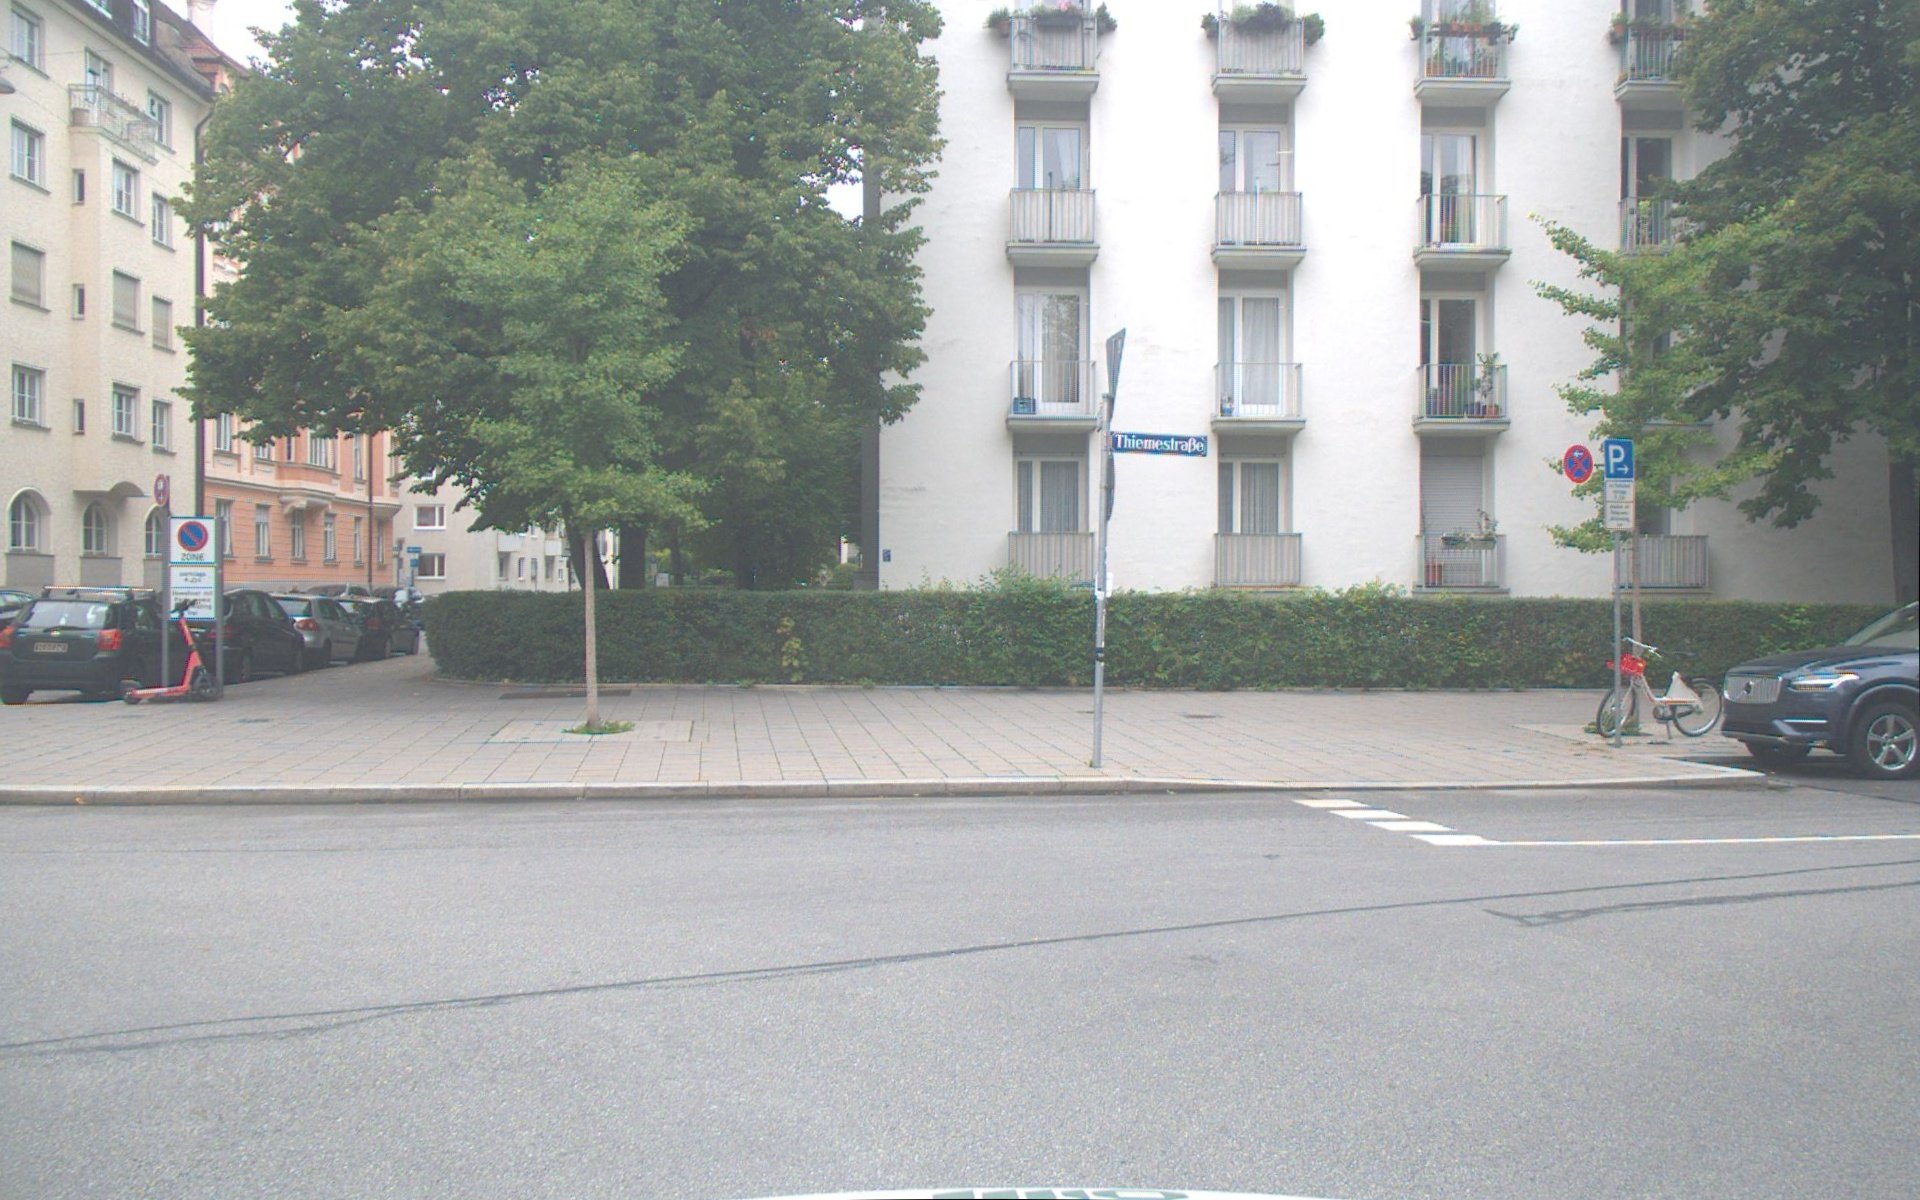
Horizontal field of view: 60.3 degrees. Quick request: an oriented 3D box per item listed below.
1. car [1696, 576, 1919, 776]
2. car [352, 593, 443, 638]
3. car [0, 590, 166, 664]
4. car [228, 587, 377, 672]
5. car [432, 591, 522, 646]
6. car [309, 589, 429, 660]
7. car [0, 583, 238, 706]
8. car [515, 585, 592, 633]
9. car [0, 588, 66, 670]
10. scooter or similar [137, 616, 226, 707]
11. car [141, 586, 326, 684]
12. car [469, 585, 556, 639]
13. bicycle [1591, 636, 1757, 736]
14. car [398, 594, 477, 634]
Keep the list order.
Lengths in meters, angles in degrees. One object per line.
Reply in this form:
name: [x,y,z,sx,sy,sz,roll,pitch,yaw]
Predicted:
car: [10.082,0.699,16.351,4.804,1.823,1.997,0,-1,-7]
car: [-21.134,0.567,62.341,1.935,1.608,4.407,0,0,-1]
car: [-20.575,0.586,38.673,1.935,1.608,4.407,0,0,-1]
car: [-13.085,0.537,33.174,1.759,1.531,4.109,-2,1,-7]
car: [-14.549,0.524,50.001,1.799,1.531,4.111,-1,1,-5]
car: [-13.824,0.532,38.914,1.759,1.531,4.109,-2,1,-7]
car: [-11.866,0.555,23.406,1.784,1.531,4.415,-2,1,-7]
car: [-14.771,0.299,60.276,1.797,1.663,3.820,-1,1,0]
car: [-20.343,0.572,33.795,1.937,1.644,4.707,0,0,-6]
scooter or similar: [-9.769,0.760,20.758,0.988,1.107,0.387,0,0,-30]
car: [-12.450,0.542,28.631,1.759,1.531,4.228,-2,1,-7]
car: [-14.733,0.356,54.608,1.798,1.663,4.114,-1,1,-1]
bicycle: [8.064,0.956,18.685,1.793,1.067,0.490,0,0,-13]
car: [-21.722,0.557,68.906,1.935,1.608,4.407,0,0,-1]
